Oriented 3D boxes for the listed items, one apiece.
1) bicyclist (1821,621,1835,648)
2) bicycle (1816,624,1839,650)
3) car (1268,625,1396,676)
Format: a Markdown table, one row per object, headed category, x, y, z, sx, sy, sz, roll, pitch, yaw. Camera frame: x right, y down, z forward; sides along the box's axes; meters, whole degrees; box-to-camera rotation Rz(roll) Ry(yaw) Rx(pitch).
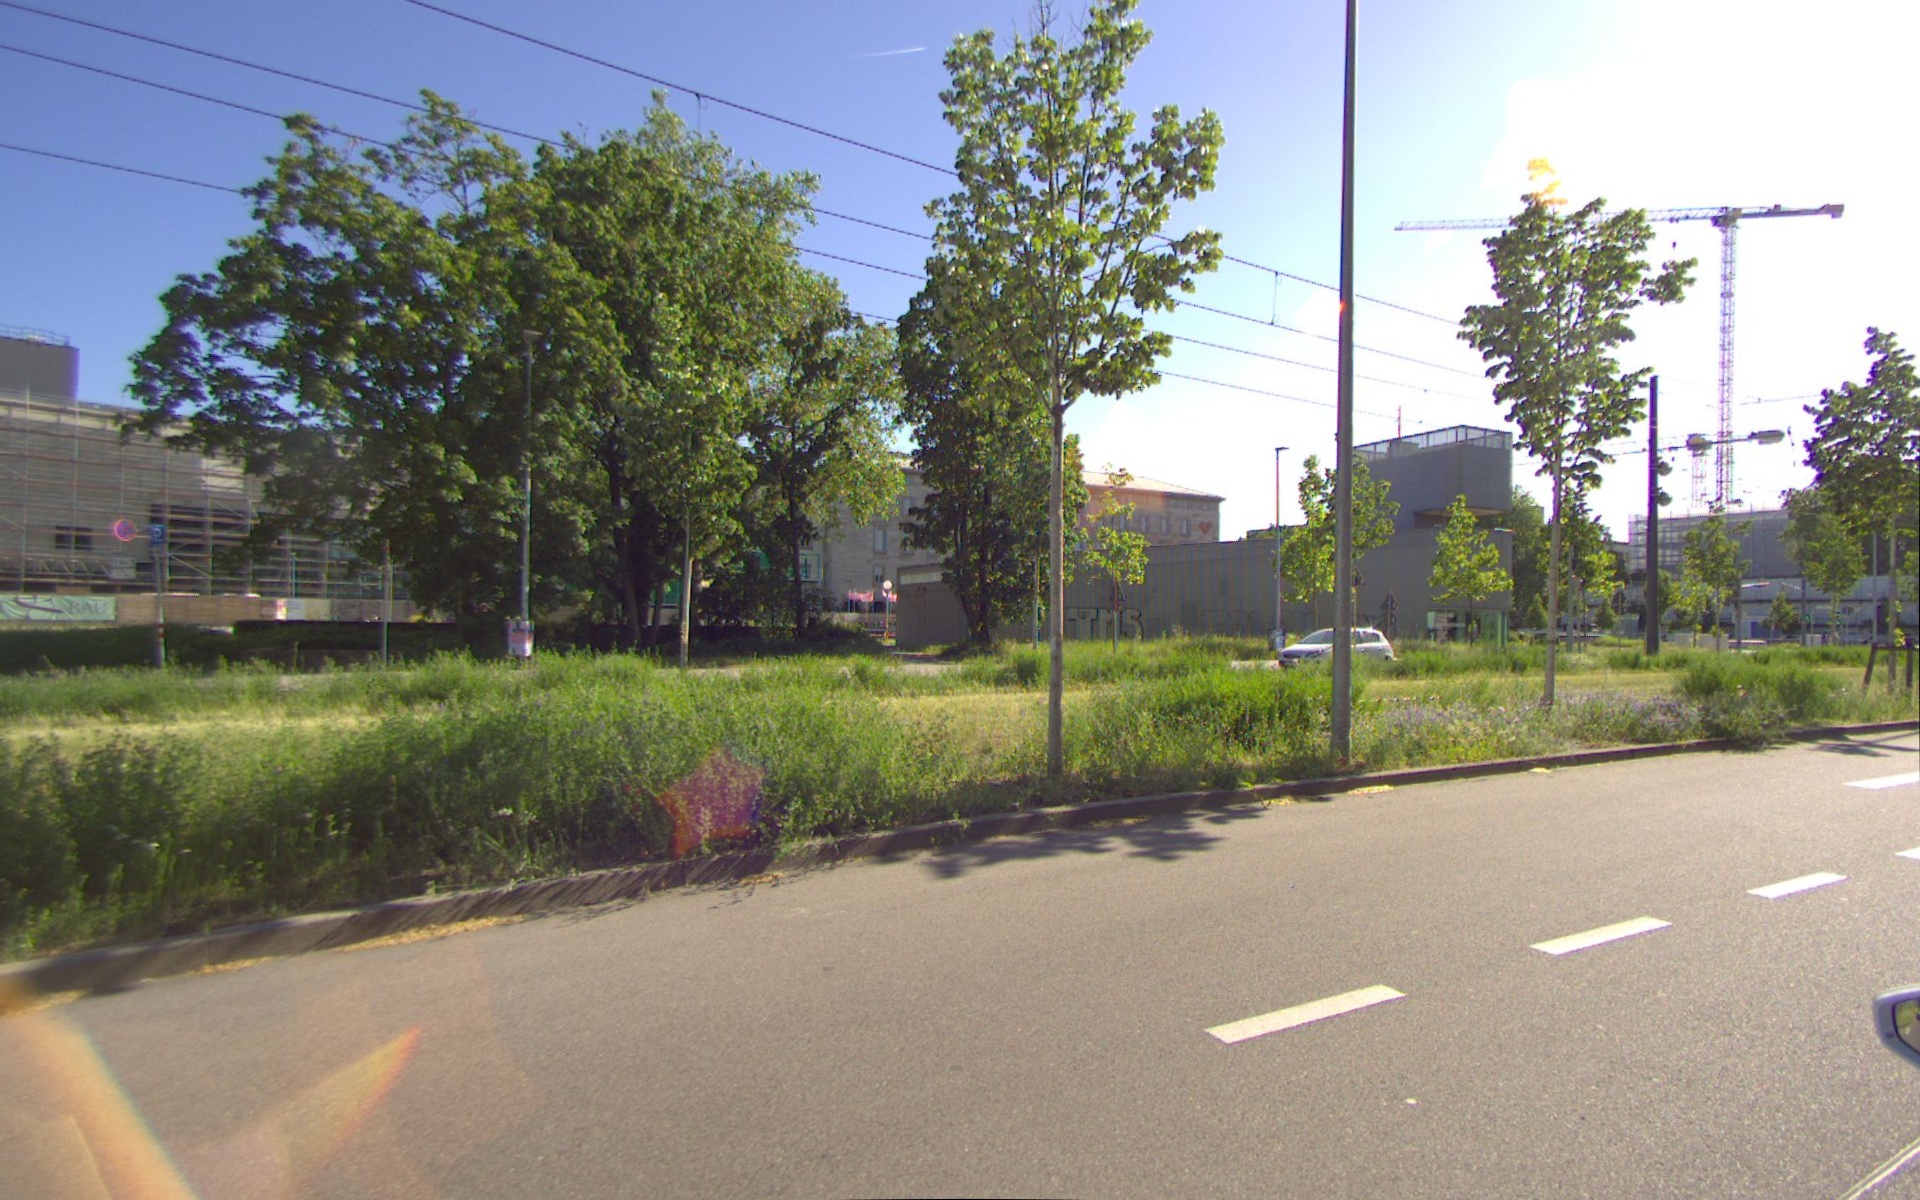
| category | x | y | z | sx | sy | sz | roll | pitch | yaw |
| --- | --- | --- | --- | --- | --- | --- | --- | --- | --- |
| bicyclist | 49.031 | 1.942 | 56.732 | 0.533 | 1.474 | 0.392 | 2 | 1 | -30 |
| bicycle | 48.971 | 2.084 | 56.714 | 1.890 | 1.475 | 0.358 | 1 | 0 | -29 |
| car | 11.202 | 1.508 | 30.212 | 3.789 | 1.416 | 1.625 | 2 | -1 | -31 |
